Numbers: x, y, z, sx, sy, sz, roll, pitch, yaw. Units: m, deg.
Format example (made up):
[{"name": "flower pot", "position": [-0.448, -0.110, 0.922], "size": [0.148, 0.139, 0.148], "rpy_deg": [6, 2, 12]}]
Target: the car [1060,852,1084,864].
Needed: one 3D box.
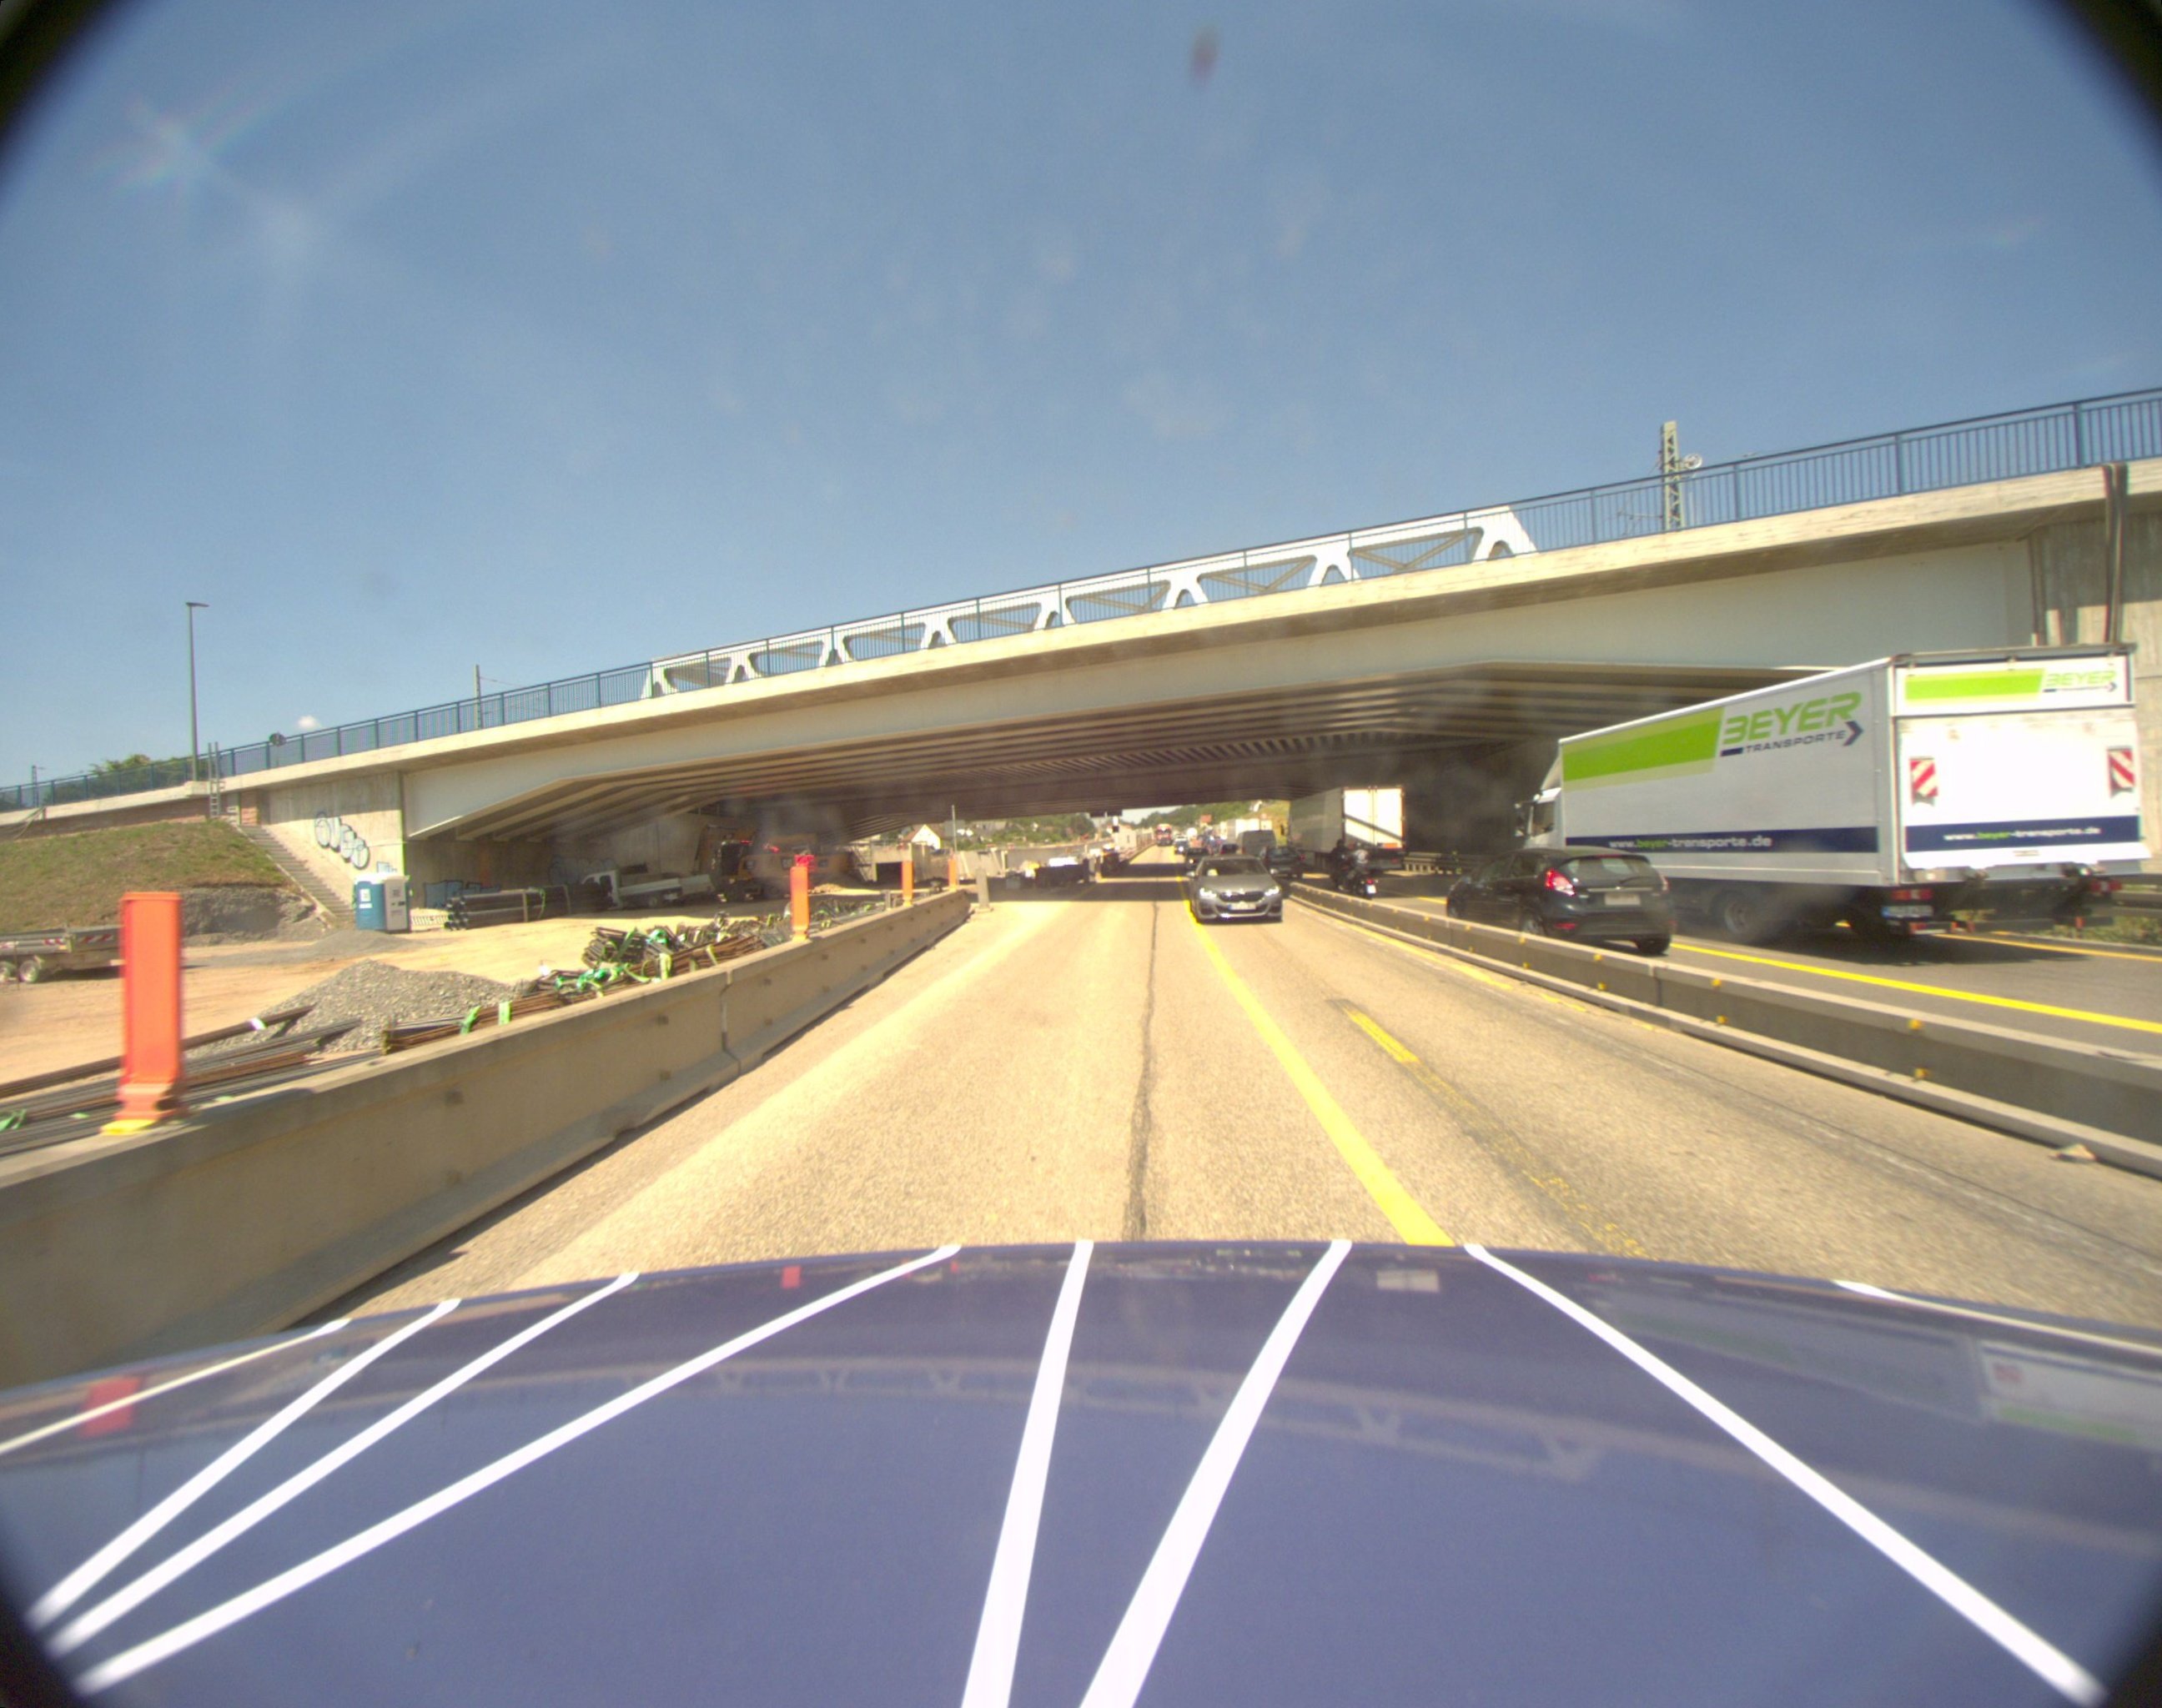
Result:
[{"name": "car", "position": [-1.511, 0.700, 131.246], "size": [3.869, 1.676, 1.692], "rpy_deg": [-4, 2, 2]}]

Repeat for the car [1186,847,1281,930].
[{"name": "car", "position": [3.416, 0.681, 17.441], "size": [1.837, 1.588, 4.392], "rpy_deg": [-2, 1, 9]}]

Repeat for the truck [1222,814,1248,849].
[{"name": "truck", "position": [19.221, -2.890, 94.965], "size": [2.664, 4.148, 5.187], "rpy_deg": [-2, 3, 7]}]

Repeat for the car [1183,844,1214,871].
[{"name": "car", "position": [7.488, 0.200, 48.588], "size": [1.837, 1.465, 4.391], "rpy_deg": [-2, 2, 8]}]

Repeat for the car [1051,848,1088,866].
[{"name": "car", "position": [-2.070, 0.565, 134.513], "size": [6.305, 2.566, 2.054], "rpy_deg": [-5, 1, -6]}]

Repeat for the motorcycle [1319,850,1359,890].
[{"name": "motorcycle", "position": [8.941, 0.523, 26.466], "size": [0.704, 1.272, 2.736], "rpy_deg": [-2, 0, 6]}]

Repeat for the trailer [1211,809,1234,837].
[{"name": "trailer", "position": [22.332, -4.864, 120.398], "size": [2.818, 4.151, 8.244], "rpy_deg": [-2, 2, 7]}]

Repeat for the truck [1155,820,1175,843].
[{"name": "truck", "position": [15.916, -4.272, 142.670], "size": [3.461, 4.025, 10.212], "rpy_deg": [-2, 2, 7]}]

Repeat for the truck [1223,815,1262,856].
[{"name": "truck", "position": [18.536, -2.233, 88.067], "size": [2.775, 4.290, 13.490], "rpy_deg": [-2, 2, 6]}]

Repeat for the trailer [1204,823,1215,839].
[{"name": "trailer", "position": [33.738, -6.027, 199.222], "size": [2.604, 3.849, 11.277], "rpy_deg": [-2, 2, 10]}]

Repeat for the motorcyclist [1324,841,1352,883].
[{"name": "motorcyclist", "position": [8.925, 0.277, 26.408], "size": [0.719, 1.408, 0.743], "rpy_deg": [-2, 3, 5]}]

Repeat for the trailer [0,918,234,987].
[{"name": "trailer", "position": [-23.255, 2.288, 17.846], "size": [4.723, 1.213, 2.056], "rpy_deg": [-2, 2, 7]}]

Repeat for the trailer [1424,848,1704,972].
[{"name": "trailer", "position": [6.832, 0.673, 11.326], "size": [1.668, 1.423, 3.999], "rpy_deg": [-2, 1, 1]}]

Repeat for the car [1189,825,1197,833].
[{"name": "car", "position": [36.744, -8.092, 248.758], "size": [2.210, 2.615, 6.628], "rpy_deg": [-2, 2, 6]}]

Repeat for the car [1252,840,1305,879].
[{"name": "car", "position": [9.103, 0.230, 35.342], "size": [1.750, 1.661, 4.080], "rpy_deg": [-2, 0, 6]}]

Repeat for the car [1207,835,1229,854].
[{"name": "car", "position": [14.722, -1.038, 81.761], "size": [1.803, 1.922, 4.969], "rpy_deg": [-2, 1, 5]}]

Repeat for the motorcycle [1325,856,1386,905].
[{"name": "motorcycle", "position": [7.468, 0.687, 20.840], "size": [0.834, 1.143, 2.791], "rpy_deg": [-2, 1, 4]}]

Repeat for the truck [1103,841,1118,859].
[{"name": "truck", "position": [6.041, -0.917, 157.228], "size": [2.503, 3.386, 5.437], "rpy_deg": [-2, 3, 7]}]

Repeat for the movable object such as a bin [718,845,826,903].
[{"name": "movable object such as a bin", "position": [-18.410, 1.166, 45.385], "size": [5.248, 3.040, 2.497], "rpy_deg": [-3, 2, 11]}]

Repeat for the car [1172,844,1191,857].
[{"name": "car", "position": [12.173, -0.408, 92.029], "size": [1.800, 1.543, 4.000], "rpy_deg": [-2, 0, 1]}]

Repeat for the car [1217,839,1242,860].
[{"name": "car", "position": [12.551, -0.384, 64.318], "size": [1.752, 1.600, 4.142], "rpy_deg": [-2, 1, 8]}]

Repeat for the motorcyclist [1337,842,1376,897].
[{"name": "motorcyclist", "position": [7.434, 0.399, 20.517], "size": [0.812, 1.408, 0.743], "rpy_deg": [-2, 3, 5]}]

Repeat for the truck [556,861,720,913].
[{"name": "truck", "position": [-21.220, 1.562, 36.542], "size": [6.533, 2.061, 2.667], "rpy_deg": [-3, 1, 10]}]

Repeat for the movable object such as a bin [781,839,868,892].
[{"name": "movable object such as a bin", "position": [-17.673, 0.745, 52.603], "size": [4.561, 3.269, 2.991], "rpy_deg": [-3, 2, 11]}]

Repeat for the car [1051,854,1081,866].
[{"name": "car", "position": [-2.538, 1.005, 127.942], "size": [4.799, 1.759, 1.720], "rpy_deg": [-4, 1, 7]}]

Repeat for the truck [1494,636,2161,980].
[{"name": "truck", "position": [10.388, -0.509, 12.363], "size": [2.824, 3.555, 8.498], "rpy_deg": [-2, 0, 2]}]

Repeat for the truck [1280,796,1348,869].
[{"name": "truck", "position": [14.035, -1.251, 46.130], "size": [2.879, 4.028, 4.886], "rpy_deg": [-4, 1, 6]}]

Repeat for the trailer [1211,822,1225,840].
[{"name": "trailer", "position": [30.420, -5.216, 168.860], "size": [2.660, 3.795, 11.826], "rpy_deg": [-2, 2, 12]}]

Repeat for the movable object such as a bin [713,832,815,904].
[{"name": "movable object such as a bin", "position": [-17.082, 0.724, 41.081], "size": [3.886, 3.523, 2.905], "rpy_deg": [-3, 2, 18]}]

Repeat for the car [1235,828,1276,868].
[{"name": "car", "position": [10.896, -0.441, 47.845], "size": [1.984, 2.317, 6.060], "rpy_deg": [-2, 1, 8]}]

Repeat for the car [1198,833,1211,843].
[{"name": "car", "position": [19.849, -2.624, 122.335], "size": [1.859, 1.519, 4.773], "rpy_deg": [-2, 2, 7]}]

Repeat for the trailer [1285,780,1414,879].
[{"name": "trailer", "position": [13.327, -1.139, 39.448], "size": [2.883, 4.016, 14.362], "rpy_deg": [-4, 1, 6]}]
